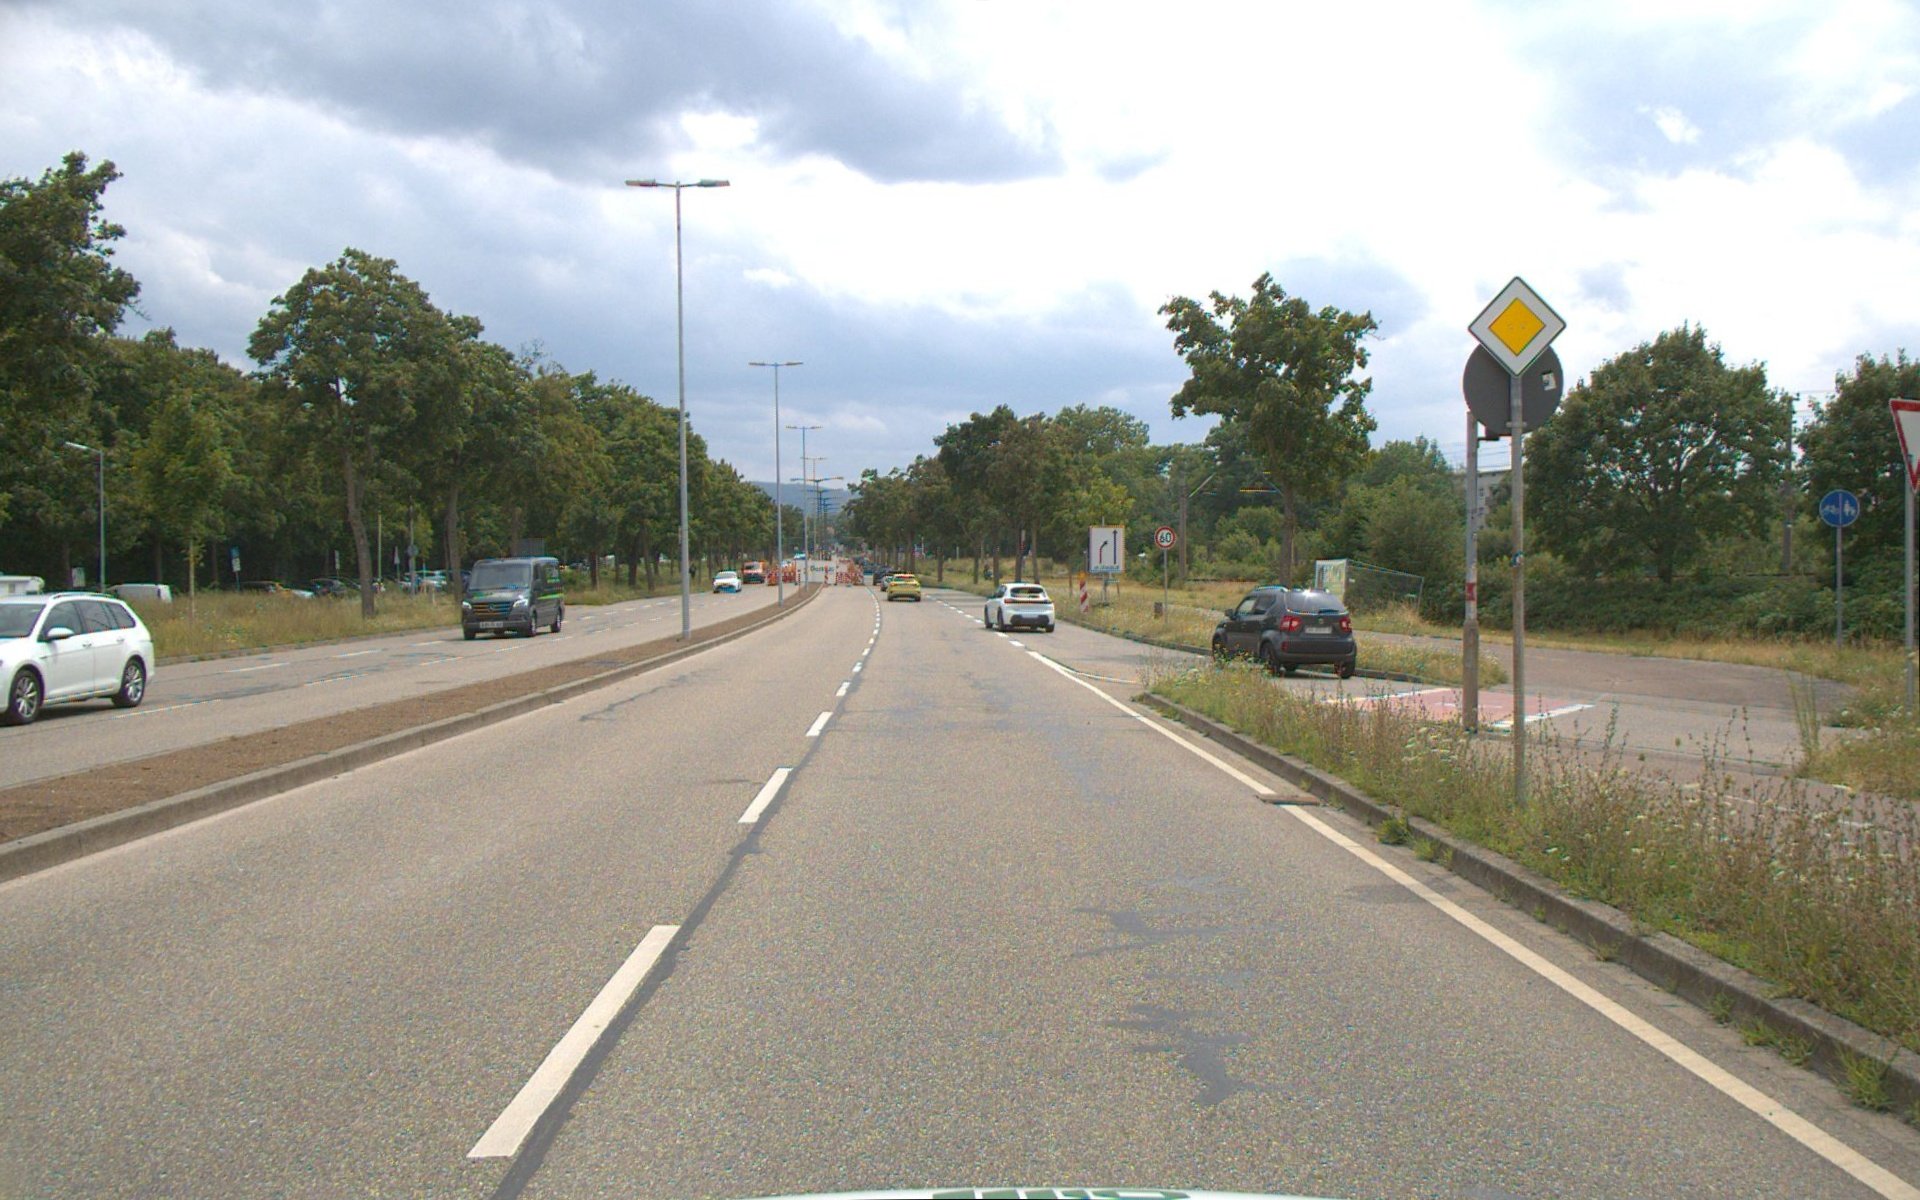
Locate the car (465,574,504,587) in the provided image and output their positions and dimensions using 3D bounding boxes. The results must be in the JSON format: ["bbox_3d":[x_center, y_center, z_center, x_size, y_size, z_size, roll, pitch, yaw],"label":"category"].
[{"bbox_3d":[-45.696,-1.894,158.869,3.299,1.253,1.441,0,2,-3],"label":"car"}]

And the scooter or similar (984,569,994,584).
[{"bbox_3d":[2.324,-1.891,132.796,0.669,1.149,0.932,-1,2,-8],"label":"scooter or similar"}]

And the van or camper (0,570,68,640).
[{"bbox_3d":[-37.908,0.176,64.838,2.422,2.585,6.718,0,2,-2],"label":"van or camper"}]

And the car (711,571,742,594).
[{"bbox_3d":[-16.241,-1.233,115.140,1.682,1.444,4.159,-2,2,-2],"label":"car"}]

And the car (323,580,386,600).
[{"bbox_3d":[-43.489,-0.697,118.850,3.906,1.384,1.667,0,2,-1],"label":"car"}]

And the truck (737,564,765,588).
[{"bbox_3d":[-19.446,-2.263,153.981,2.047,2.029,6.037,-2,2,-3],"label":"truck"}]

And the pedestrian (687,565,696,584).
[{"bbox_3d":[-26.362,-2.500,162.288,0.682,1.870,0.646,-1,2,-25],"label":"pedestrian"}]

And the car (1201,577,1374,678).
[{"bbox_3d":[6.018,0.460,30.851,1.674,1.697,3.987,0,1,-13],"label":"car"}]

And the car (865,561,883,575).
[{"bbox_3d":[-11.117,-4.164,214.095,2.161,1.713,4.000,0,2,-1],"label":"car"}]

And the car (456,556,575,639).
[{"bbox_3d":[-12.954,-0.131,48.604,2.053,2.239,6.001,-2,1,-3],"label":"car"}]

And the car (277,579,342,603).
[{"bbox_3d":[-41.856,-0.592,106.429,3.575,1.436,1.517,0,2,-1],"label":"car"}]

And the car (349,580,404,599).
[{"bbox_3d":[-43.839,-0.771,124.307,3.572,1.384,1.708,0,2,-1],"label":"car"}]

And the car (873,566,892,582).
[{"bbox_3d":[-6.539,-2.228,139.919,1.633,1.292,3.999,0,2,-2],"label":"car"}]

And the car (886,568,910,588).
[{"bbox_3d":[-4.287,-1.523,114.642,1.633,1.292,3.999,0,2,-2],"label":"car"}]

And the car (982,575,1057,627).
[{"bbox_3d":[1.815,-0.002,51.284,1.733,1.489,3.995,-1,2,-7],"label":"car"}]

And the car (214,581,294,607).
[{"bbox_3d":[-41.863,-0.357,98.121,3.906,1.474,2.000,0,2,-1],"label":"car"}]

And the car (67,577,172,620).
[{"bbox_3d":[-39.673,-0.080,78.156,3.908,1.920,1.938,0,2,-4],"label":"car"}]

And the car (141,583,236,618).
[{"bbox_3d":[-39.649,0.010,85.038,3.908,1.743,2.045,0,2,-4],"label":"car"}]

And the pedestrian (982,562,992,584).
[{"bbox_3d":[2.200,-2.207,133.712,0.677,1.724,0.932,-1,2,-8],"label":"pedestrian"}]

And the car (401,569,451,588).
[{"bbox_3d":[-45.059,-1.808,139.510,3.575,1.545,1.882,0,2,-1],"label":"car"}]

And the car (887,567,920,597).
[{"bbox_3d":[-3.067,-0.999,90.112,1.757,1.589,3.999,0,2,-2],"label":"car"}]

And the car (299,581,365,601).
[{"bbox_3d":[-43.366,-0.643,114.271,3.907,1.281,1.853,0,2,-3],"label":"car"}]

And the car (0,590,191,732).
[{"bbox_3d":[-11.390,0.678,20.042,1.953,1.455,4.688,-2,1,-1],"label":"car"}]

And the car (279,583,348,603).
[{"bbox_3d":[-42.997,-0.463,110.049,3.907,1.281,1.563,0,2,-3],"label":"car"}]
